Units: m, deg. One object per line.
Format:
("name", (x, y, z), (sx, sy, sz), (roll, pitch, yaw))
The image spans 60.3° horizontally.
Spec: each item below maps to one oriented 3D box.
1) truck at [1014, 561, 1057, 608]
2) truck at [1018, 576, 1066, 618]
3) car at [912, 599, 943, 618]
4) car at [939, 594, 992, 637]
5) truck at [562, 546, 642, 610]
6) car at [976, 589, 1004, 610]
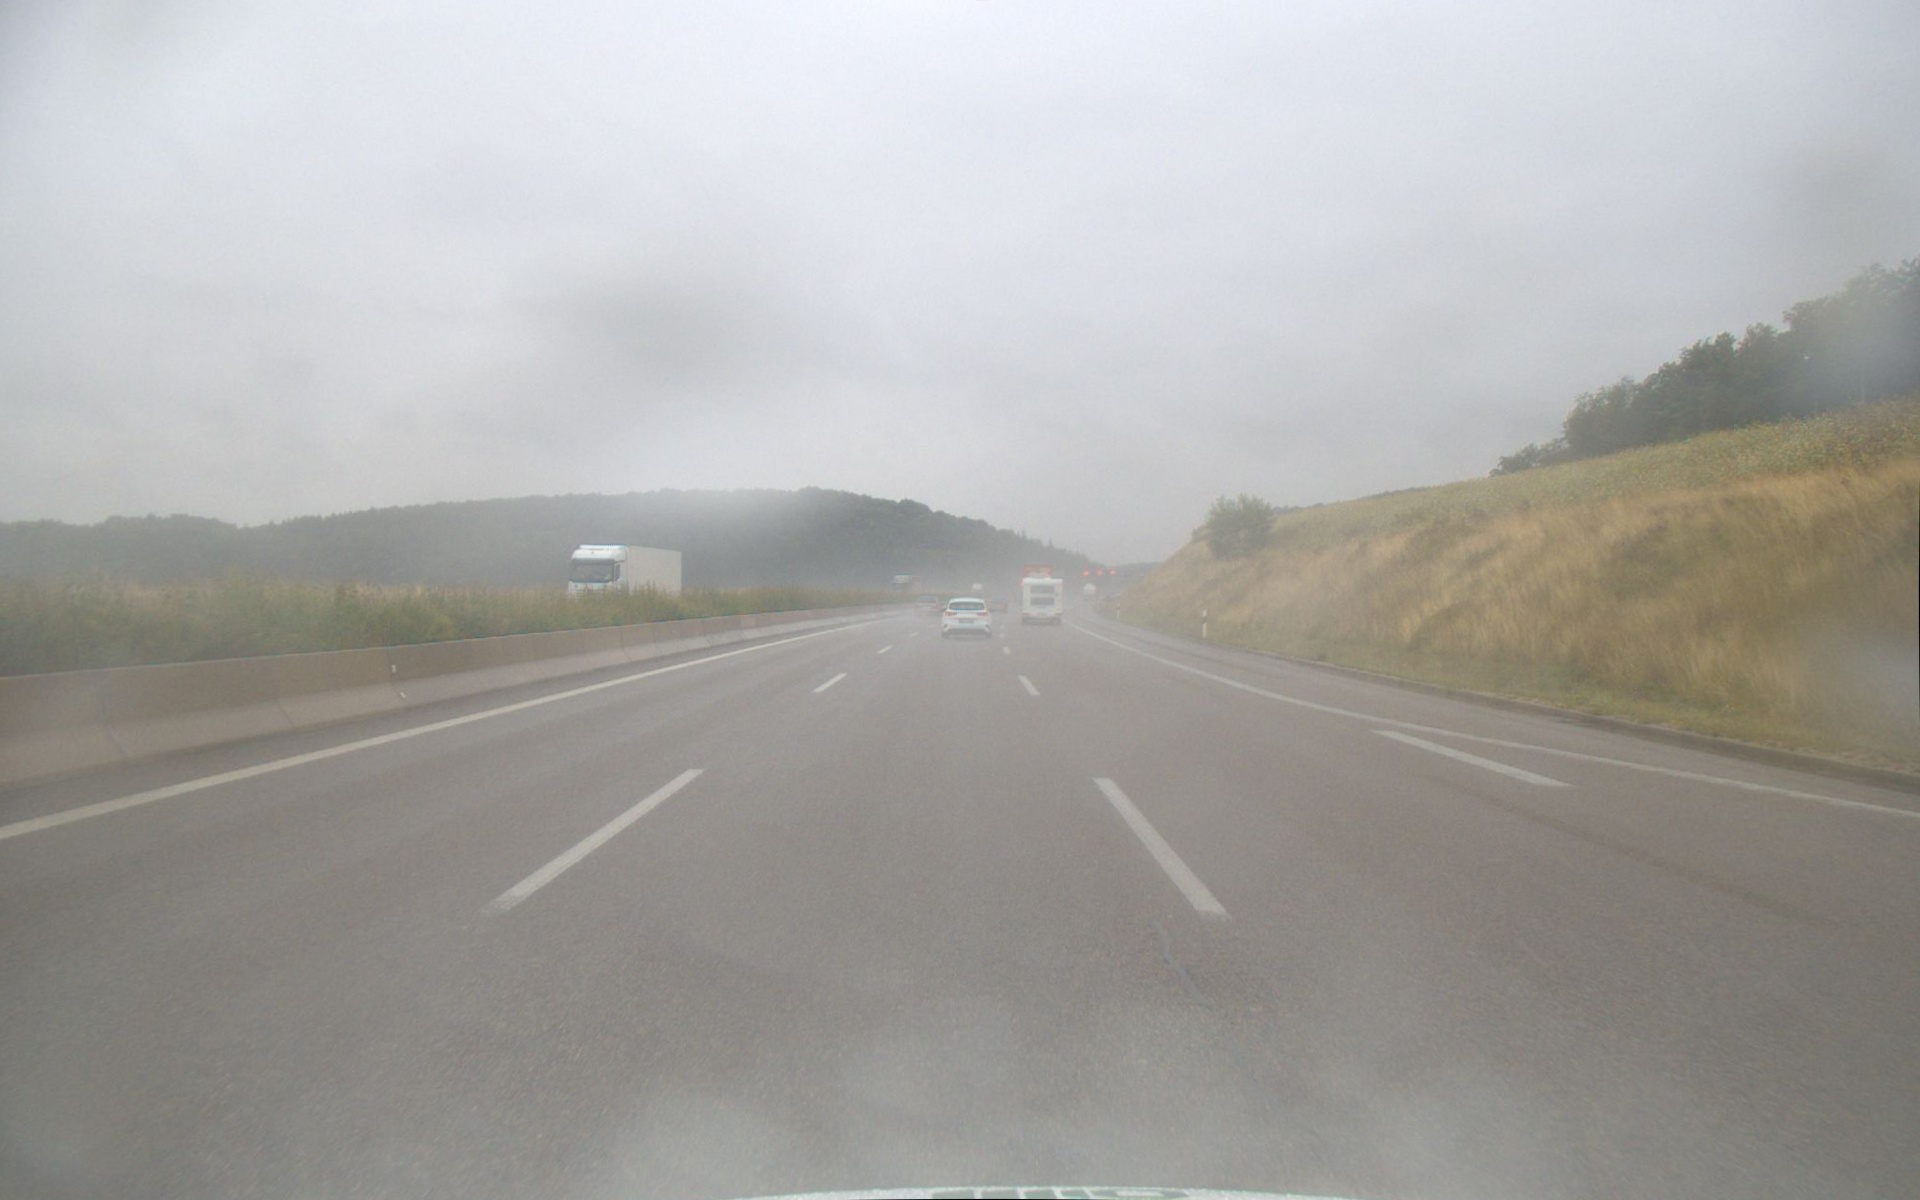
("truck", (6.401, -1.349, 140.266), (3.453, 3.808, 11.431), (1, 1, 3))
("truck", (4.515, -0.165, 91.980), (2.359, 2.292, 4.691), (0, 0, -1))
("car", (-2.113, 0.554, 106.229), (1.787, 1.177, 4.210), (1, -1, -3))
("car", (0.173, 0.555, 59.471), (1.829, 1.488, 3.999), (0, -1, -1))
("truck", (-18.706, -1.123, 86.741), (2.931, 3.178, 5.596), (0, 0, 0))
("car", (2.449, -0.070, 134.582), (1.954, 1.646, 3.997), (0, 0, -3))
